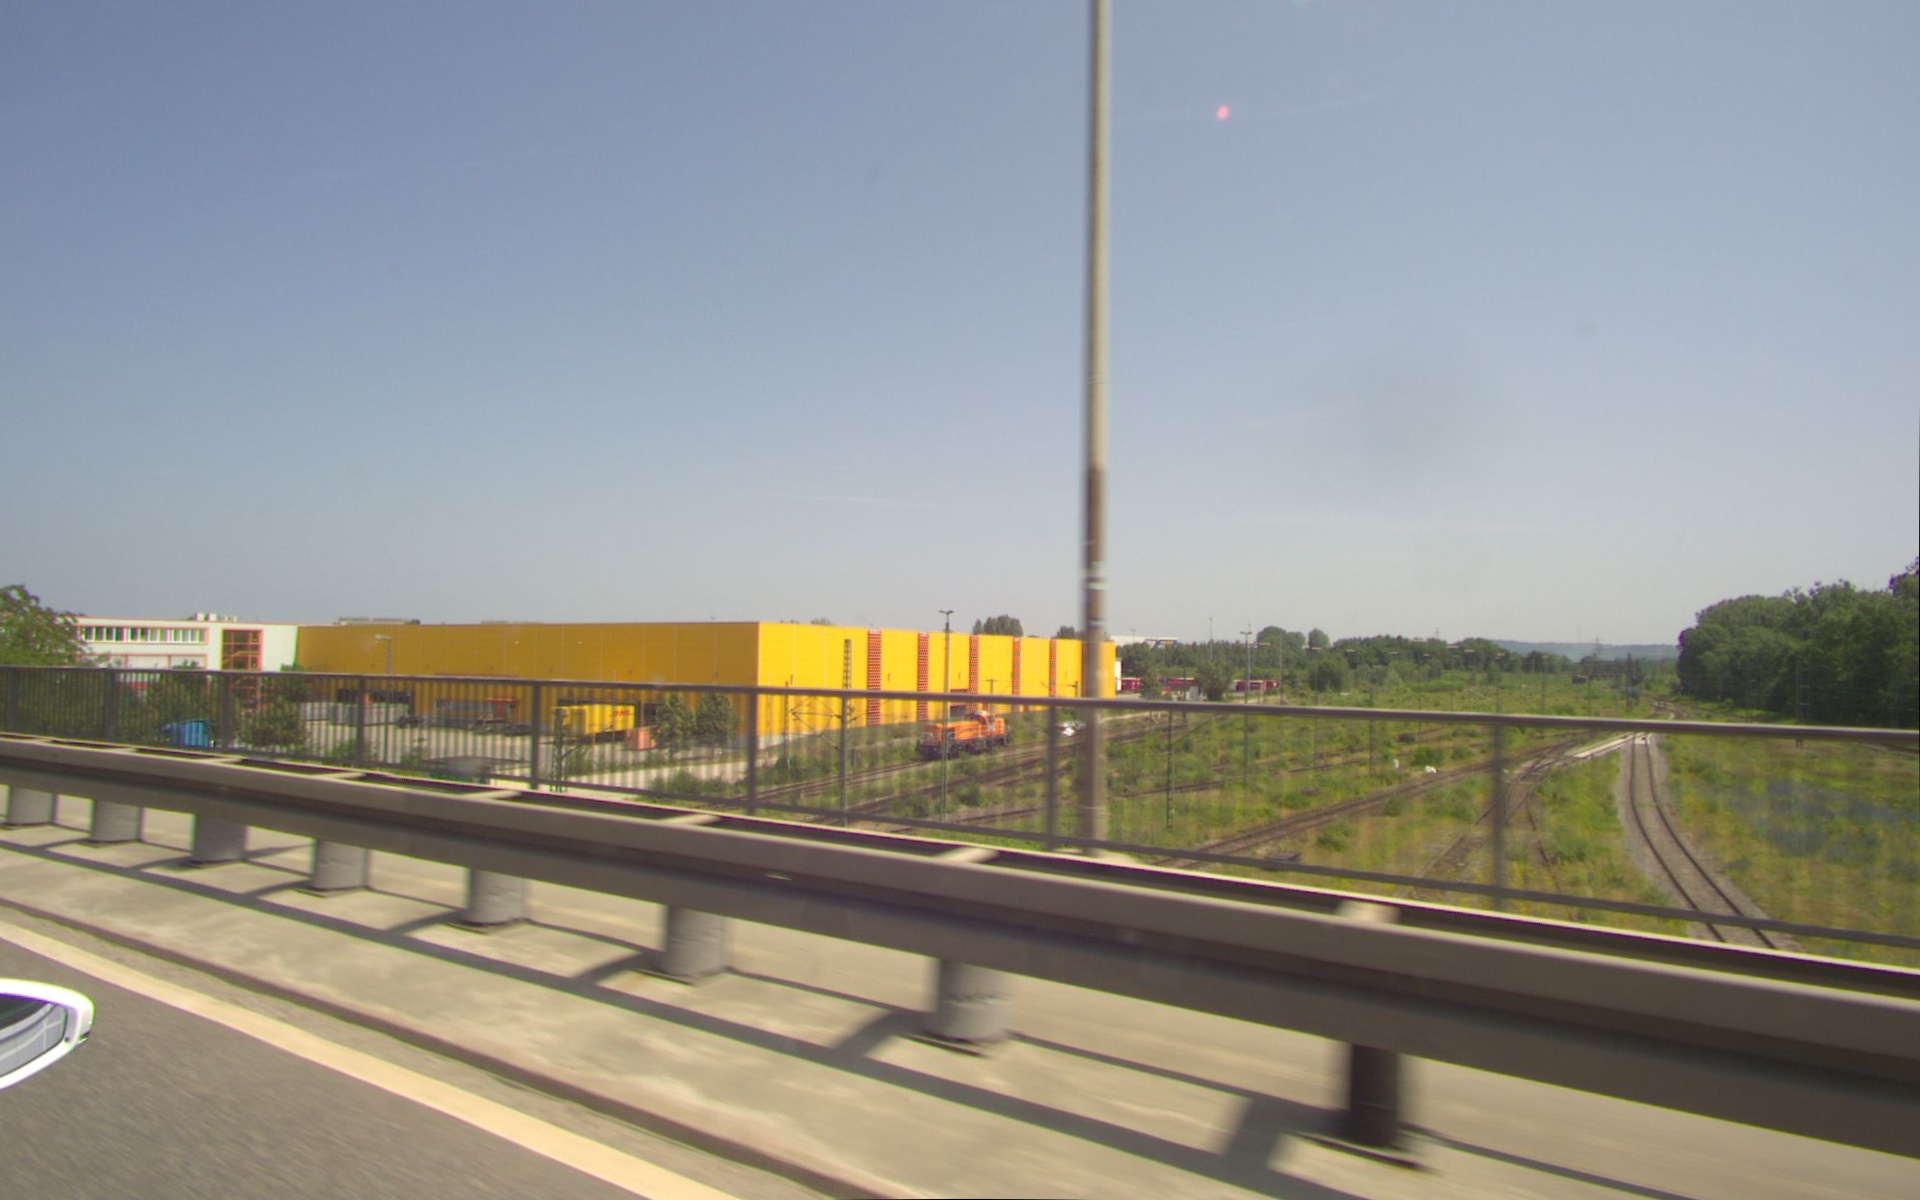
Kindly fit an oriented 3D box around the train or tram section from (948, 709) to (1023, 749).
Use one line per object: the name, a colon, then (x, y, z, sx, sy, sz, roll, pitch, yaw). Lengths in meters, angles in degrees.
train or tram section: (2.945, 13.777, 107.935, 2.204, 3.733, 13.972, 0, -4, 27)
